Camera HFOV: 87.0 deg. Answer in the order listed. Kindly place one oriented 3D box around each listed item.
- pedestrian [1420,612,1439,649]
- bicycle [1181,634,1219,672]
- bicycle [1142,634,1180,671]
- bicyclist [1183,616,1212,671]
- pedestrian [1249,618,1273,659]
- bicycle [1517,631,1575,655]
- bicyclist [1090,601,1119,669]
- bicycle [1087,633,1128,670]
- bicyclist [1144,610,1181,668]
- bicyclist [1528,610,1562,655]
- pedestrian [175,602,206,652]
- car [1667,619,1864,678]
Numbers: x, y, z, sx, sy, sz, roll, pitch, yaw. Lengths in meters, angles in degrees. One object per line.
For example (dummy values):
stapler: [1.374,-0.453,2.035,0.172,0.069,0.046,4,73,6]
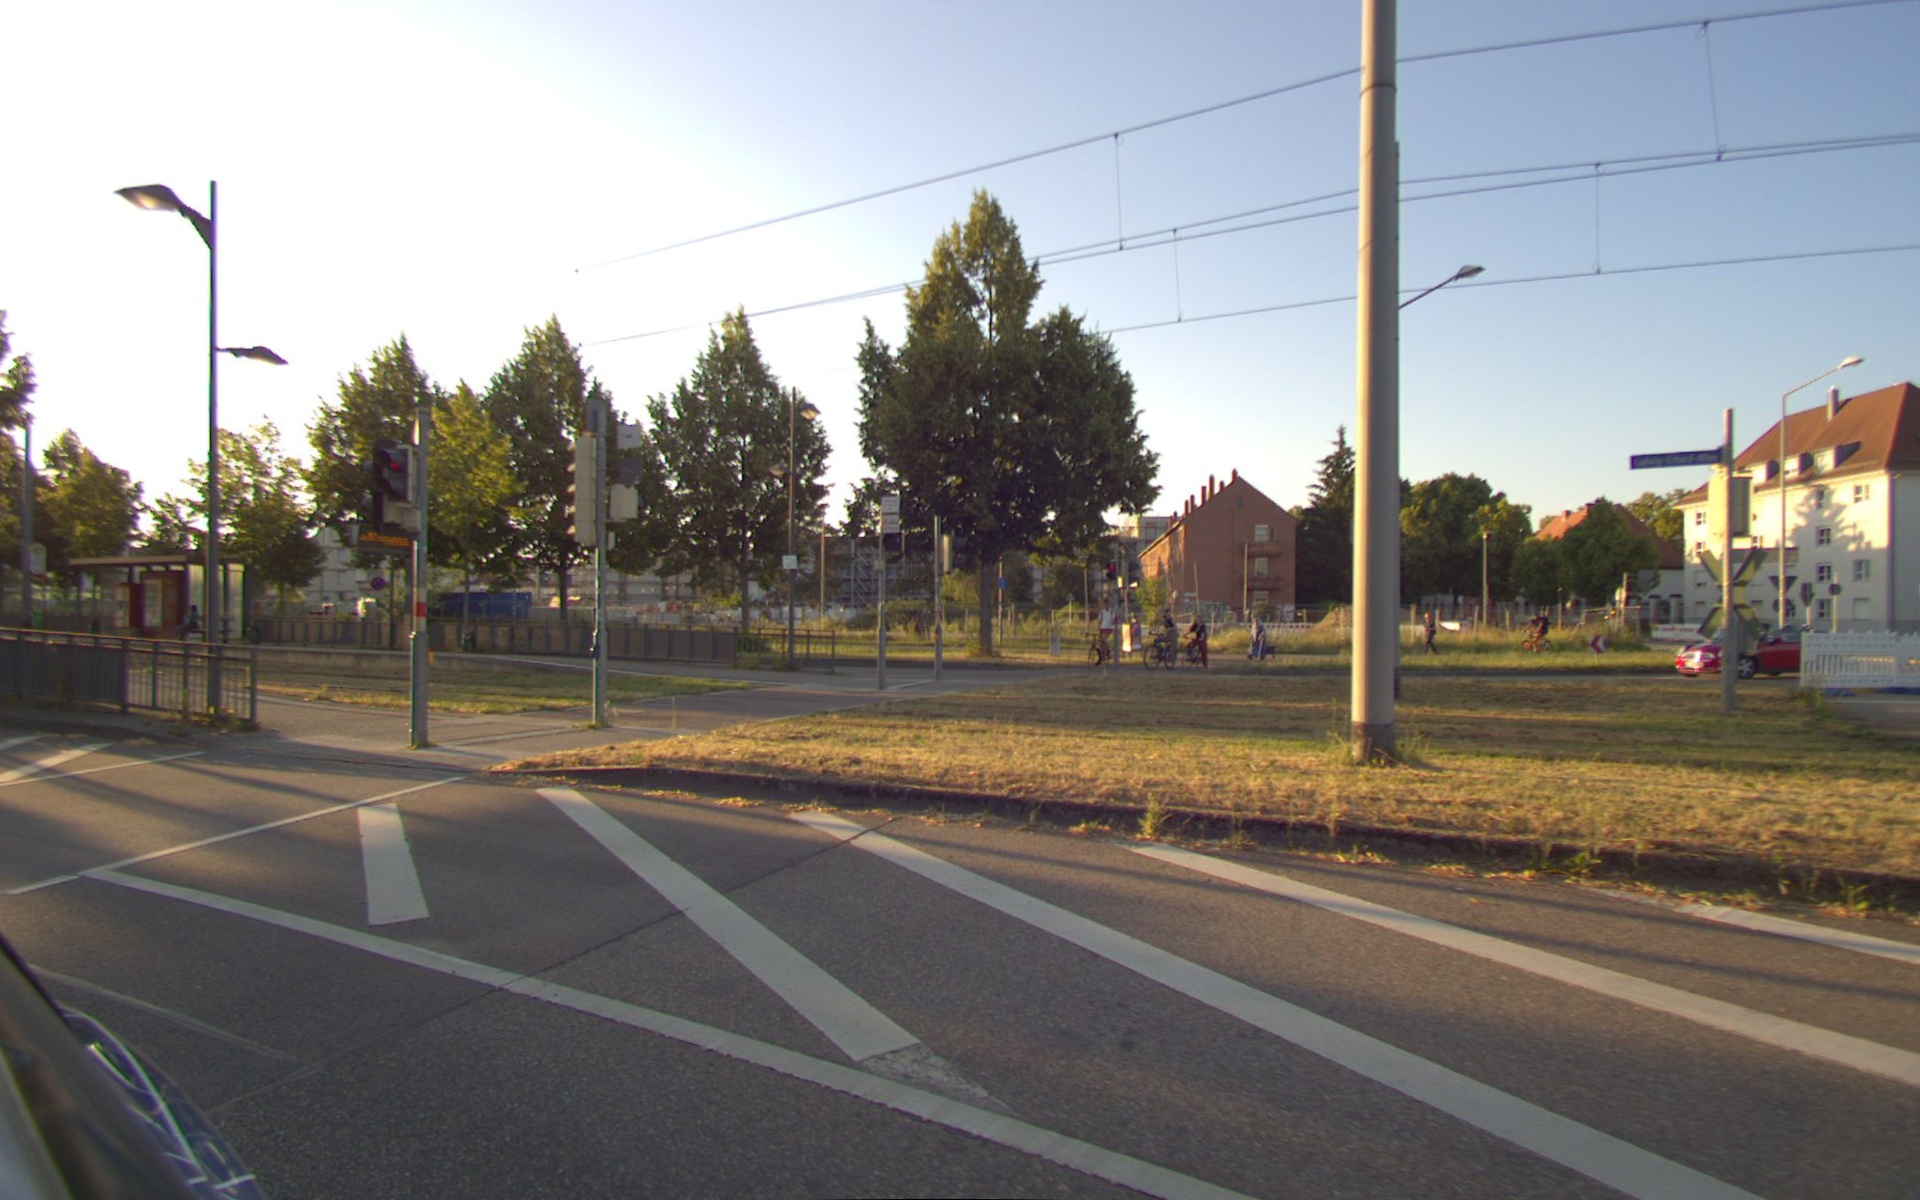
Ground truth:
pedestrian: [17.745,1.158,38.274,0.496,1.376,0.434,0,-1,-5]
bicycle: [6.774,1.485,28.505,0.535,0.988,1.825,-1,-1,29]
bicycle: [5.778,1.499,29.016,0.547,0.988,1.825,-1,-1,29]
bicyclist: [6.645,1.208,28.328,0.590,1.517,0.806,-1,-1,29]
pedestrian: [10.308,1.296,34.654,0.692,1.376,0.613,-1,-1,30]
bicycle: [21.959,1.608,37.942,2.099,0.852,0.514,0,-1,-14]
bicyclist: [4.153,0.988,29.022,0.613,1.933,0.671,-1,-1,30]
bicycle: [4.267,1.474,29.198,0.547,0.988,1.825,-1,-1,29]
bicyclist: [5.806,1.108,29.030,0.811,1.653,0.806,-1,-1,30]
bicyclist: [21.932,1.214,37.946,0.785,1.646,0.697,0,-1,-14]
pedestrian: [-25.616,0.880,33.683,0.444,1.645,0.702,-1,-1,24]
car: [19.813,1.151,24.934,3.932,1.342,1.839,0,-1,-16]
